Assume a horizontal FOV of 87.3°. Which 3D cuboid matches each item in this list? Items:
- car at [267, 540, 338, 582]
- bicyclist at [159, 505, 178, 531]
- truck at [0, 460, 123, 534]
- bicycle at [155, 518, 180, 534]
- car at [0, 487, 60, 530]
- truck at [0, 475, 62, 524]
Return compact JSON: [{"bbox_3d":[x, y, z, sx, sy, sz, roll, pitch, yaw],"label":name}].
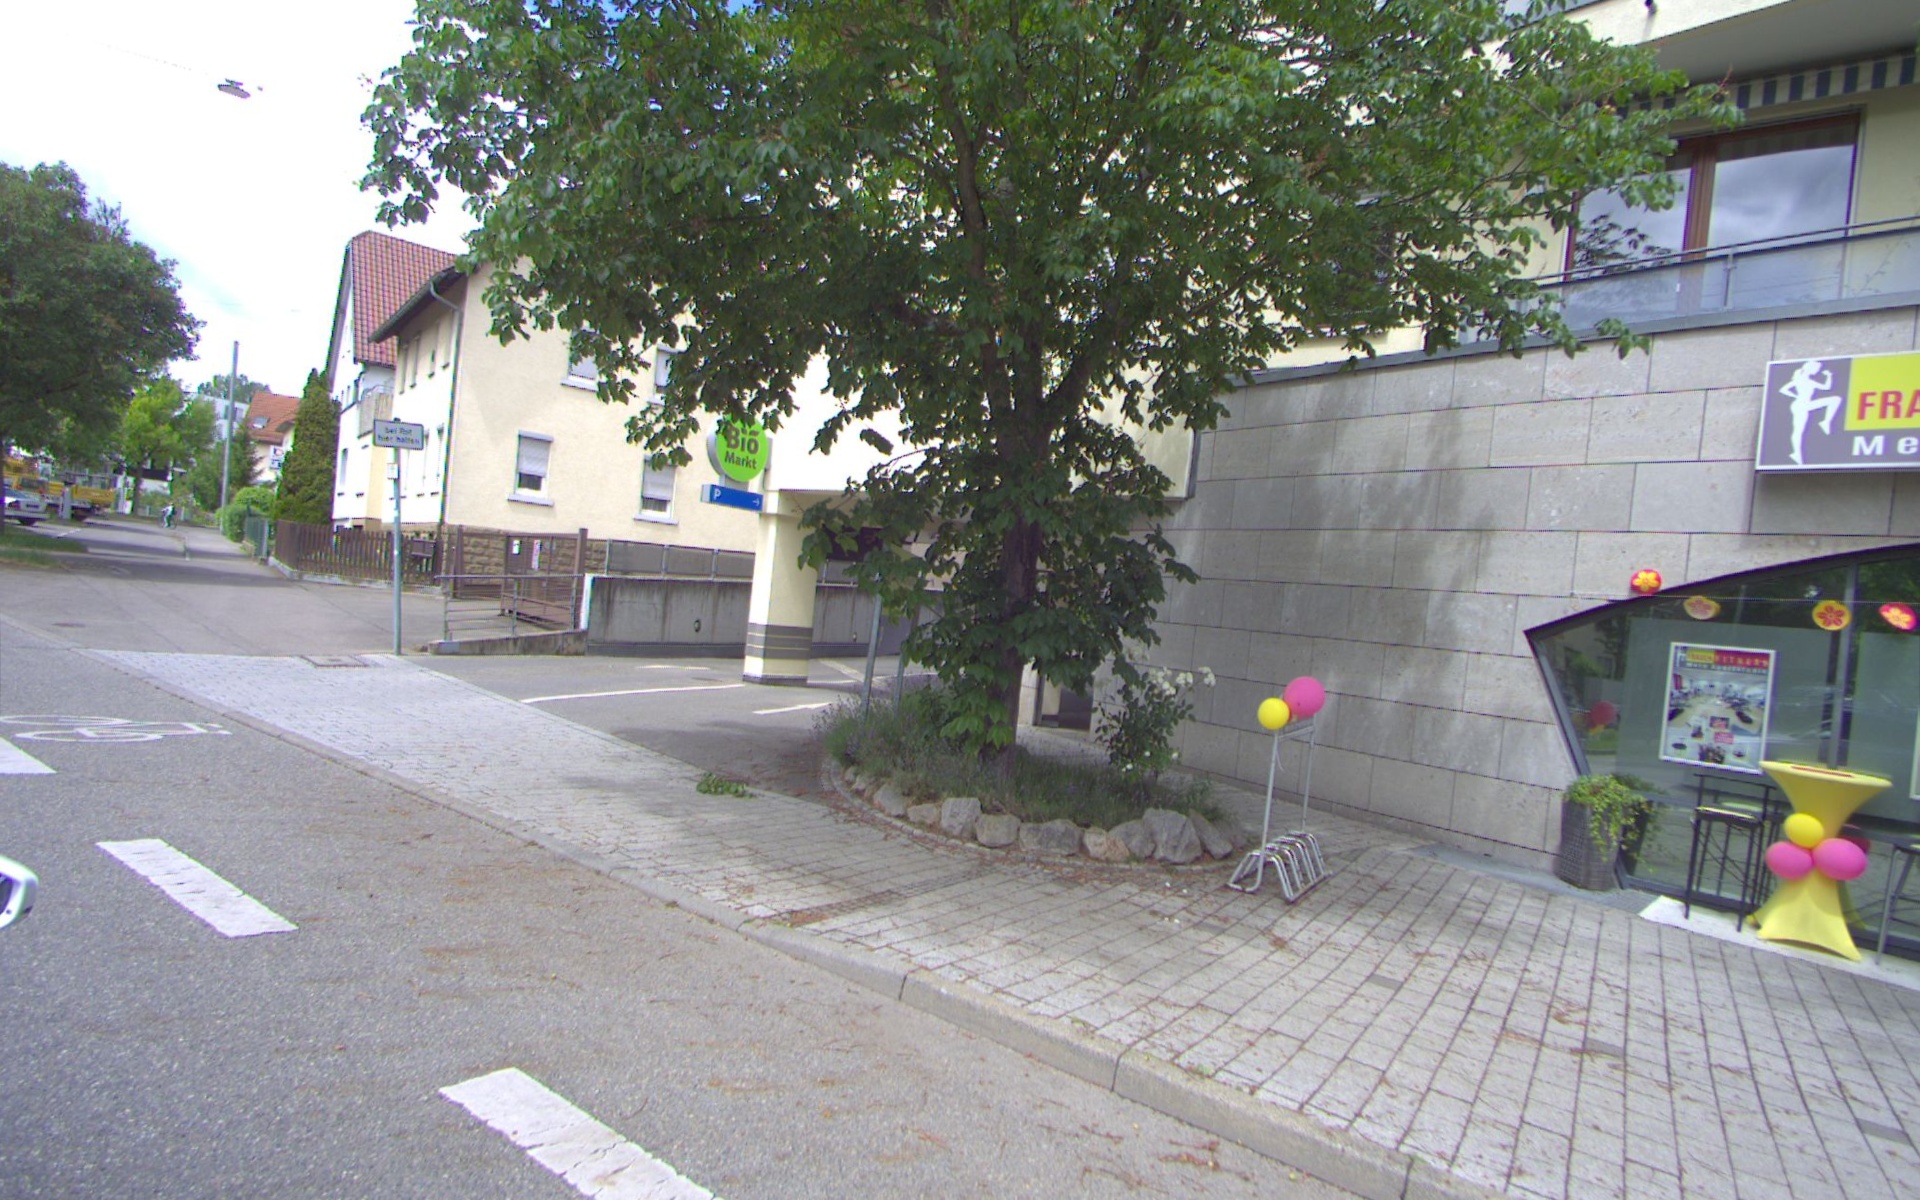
[{"bbox_3d":[-22.826,-1.371,34.884,1.457,1.137,3.828,9,-3,-41],"label":"car"},{"bbox_3d":[-50.335,-5.224,63.980,0.557,1.577,0.590,6,-2,31],"label":"bicyclist"},{"bbox_3d":[-49.516,-5.649,53.914,6.585,3.042,2.771,8,-2,-2],"label":"truck"},{"bbox_3d":[-50.421,-4.724,63.977,1.725,0.821,0.595,6,-2,31],"label":"bicycle"},{"bbox_3d":[-39.097,-3.890,40.179,4.603,1.469,1.768,7,0,0],"label":"car"},{"bbox_3d":[-49.387,-5.350,50.961,5.576,2.036,2.001,8,-2,-3],"label":"truck"}]
